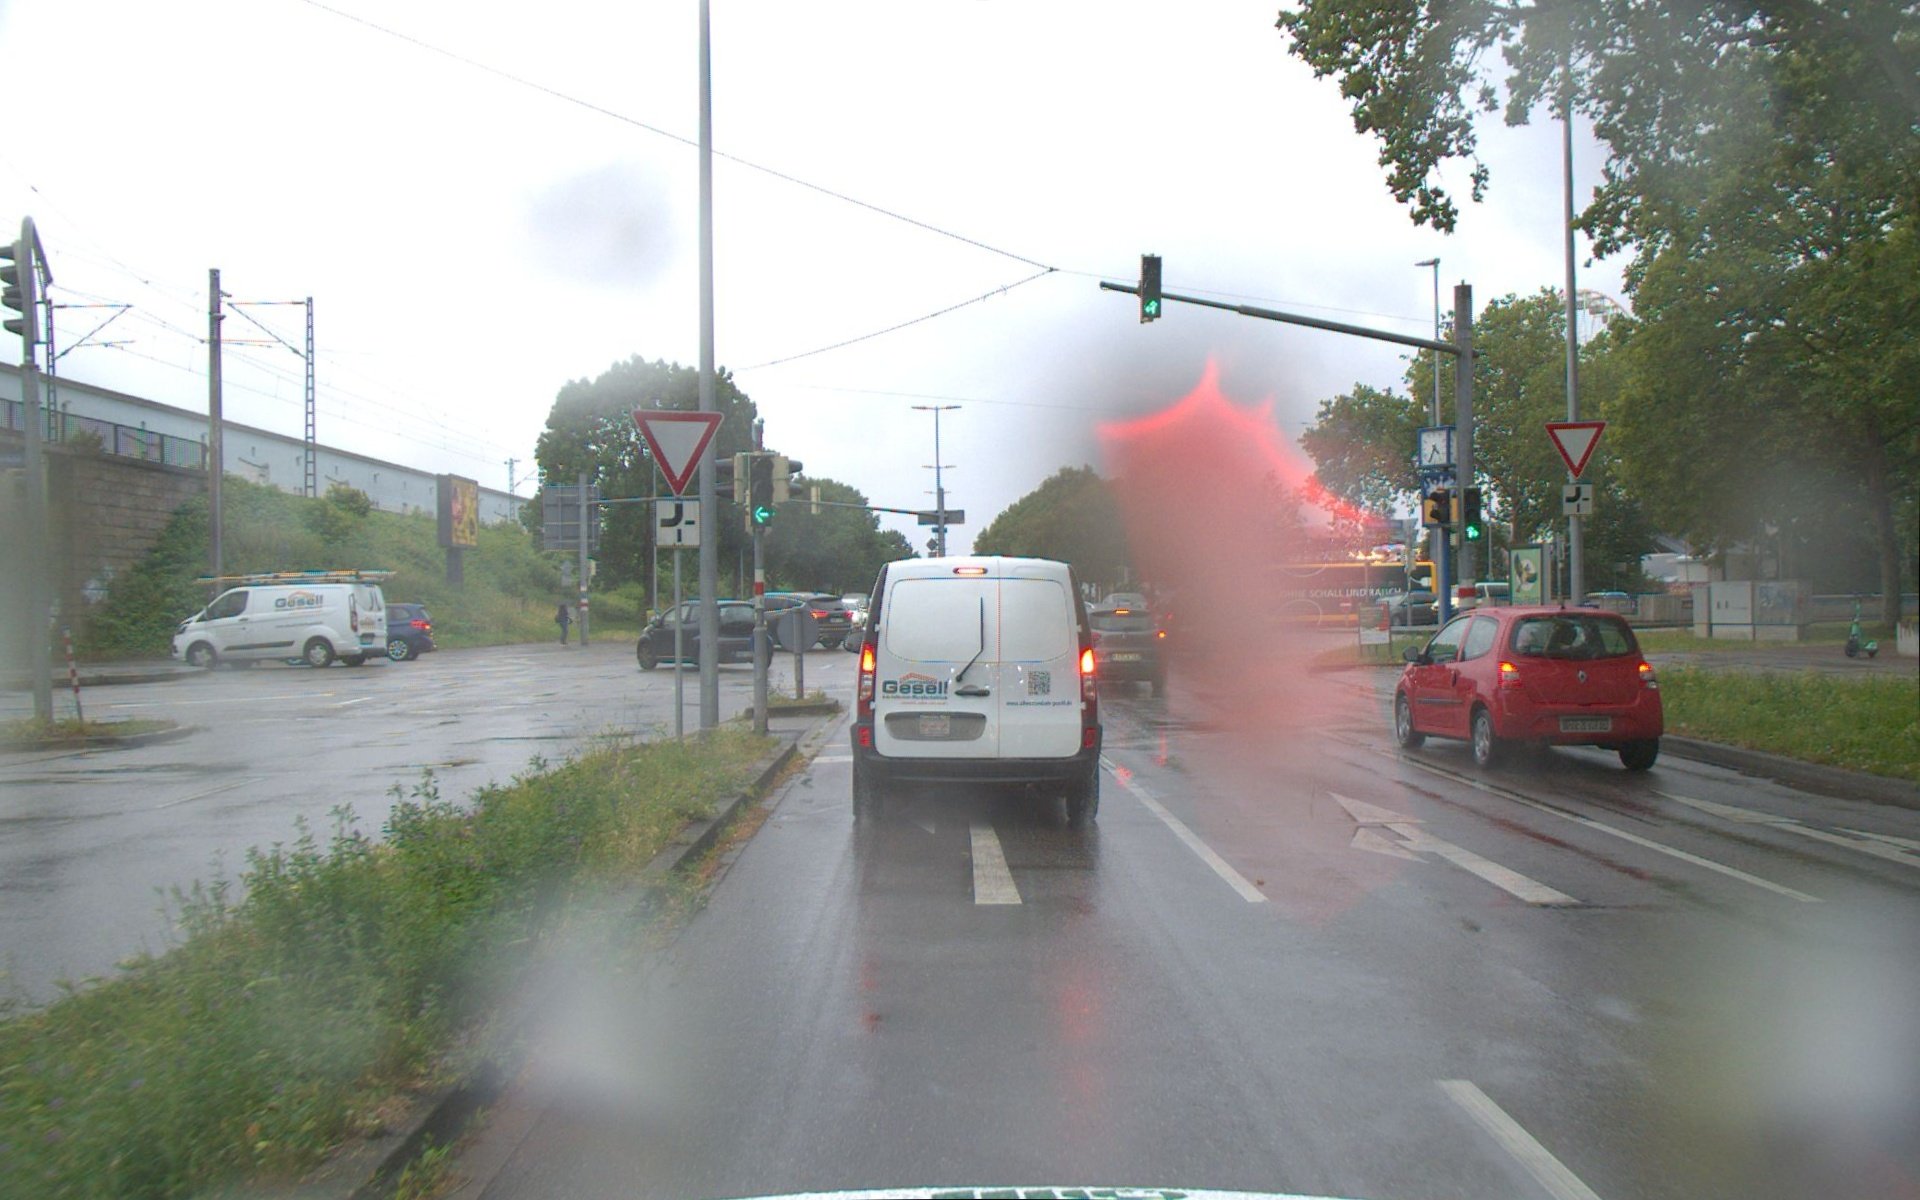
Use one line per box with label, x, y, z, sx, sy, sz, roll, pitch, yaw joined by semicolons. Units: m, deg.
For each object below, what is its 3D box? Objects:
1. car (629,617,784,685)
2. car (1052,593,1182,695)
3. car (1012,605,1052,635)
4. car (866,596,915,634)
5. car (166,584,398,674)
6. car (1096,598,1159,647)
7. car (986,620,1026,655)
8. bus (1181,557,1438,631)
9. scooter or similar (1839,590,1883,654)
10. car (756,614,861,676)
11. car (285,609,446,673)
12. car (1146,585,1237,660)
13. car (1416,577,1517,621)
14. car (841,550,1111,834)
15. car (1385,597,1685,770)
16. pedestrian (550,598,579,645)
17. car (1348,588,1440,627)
car;-5.394;1.045;34.978;1.571;1.329;3.402;-1;0;-44
car;2.669;0.722;28.951;1.805;1.646;3.999;1;0;-1
car;3.947;1.080;90.971;1.953;1.587;3.999;1;0;-1
car;-3.403;0.729;81.493;2.125;1.750;4.303;-1;0;1
car;-16.225;0.678;39.739;4.703;1.990;2.001;-2;1;5
car;5.857;0.778;58.307;1.805;1.646;4.000;1;0;0
car;2.305;1.891;84.058;1.952;1.601;4.001;-1;0;1
bus;17.226;-0.310;81.965;12.001;3.325;3.274;-1;0;-2
scooter or similar;17.030;0.410;31.266;1.164;1.158;0.336;-2;0;-41
car;-4.026;1.149;43.524;1.547;1.499;3.322;-1;0;-29
car;-16.618;1.121;46.381;3.857;1.647;1.997;-1;0;-7
car;5.458;0.503;39.365;1.599;1.684;3.484;1;0;-1
car;22.895;-0.058;74.694;4.698;1.881;2.050;-1;0;-38
car;0.067;0.594;12.733;1.720;1.808;3.999;1;0;-1
car;5.516;0.734;16.320;1.644;1.517;3.620;0;0;-1
pedestrian;-14.664;0.792;61.336;0.983;1.749;0.818;-1;0;-9
car;19.921;0.347;75.818;4.298;1.680;1.907;-1;0;-38
